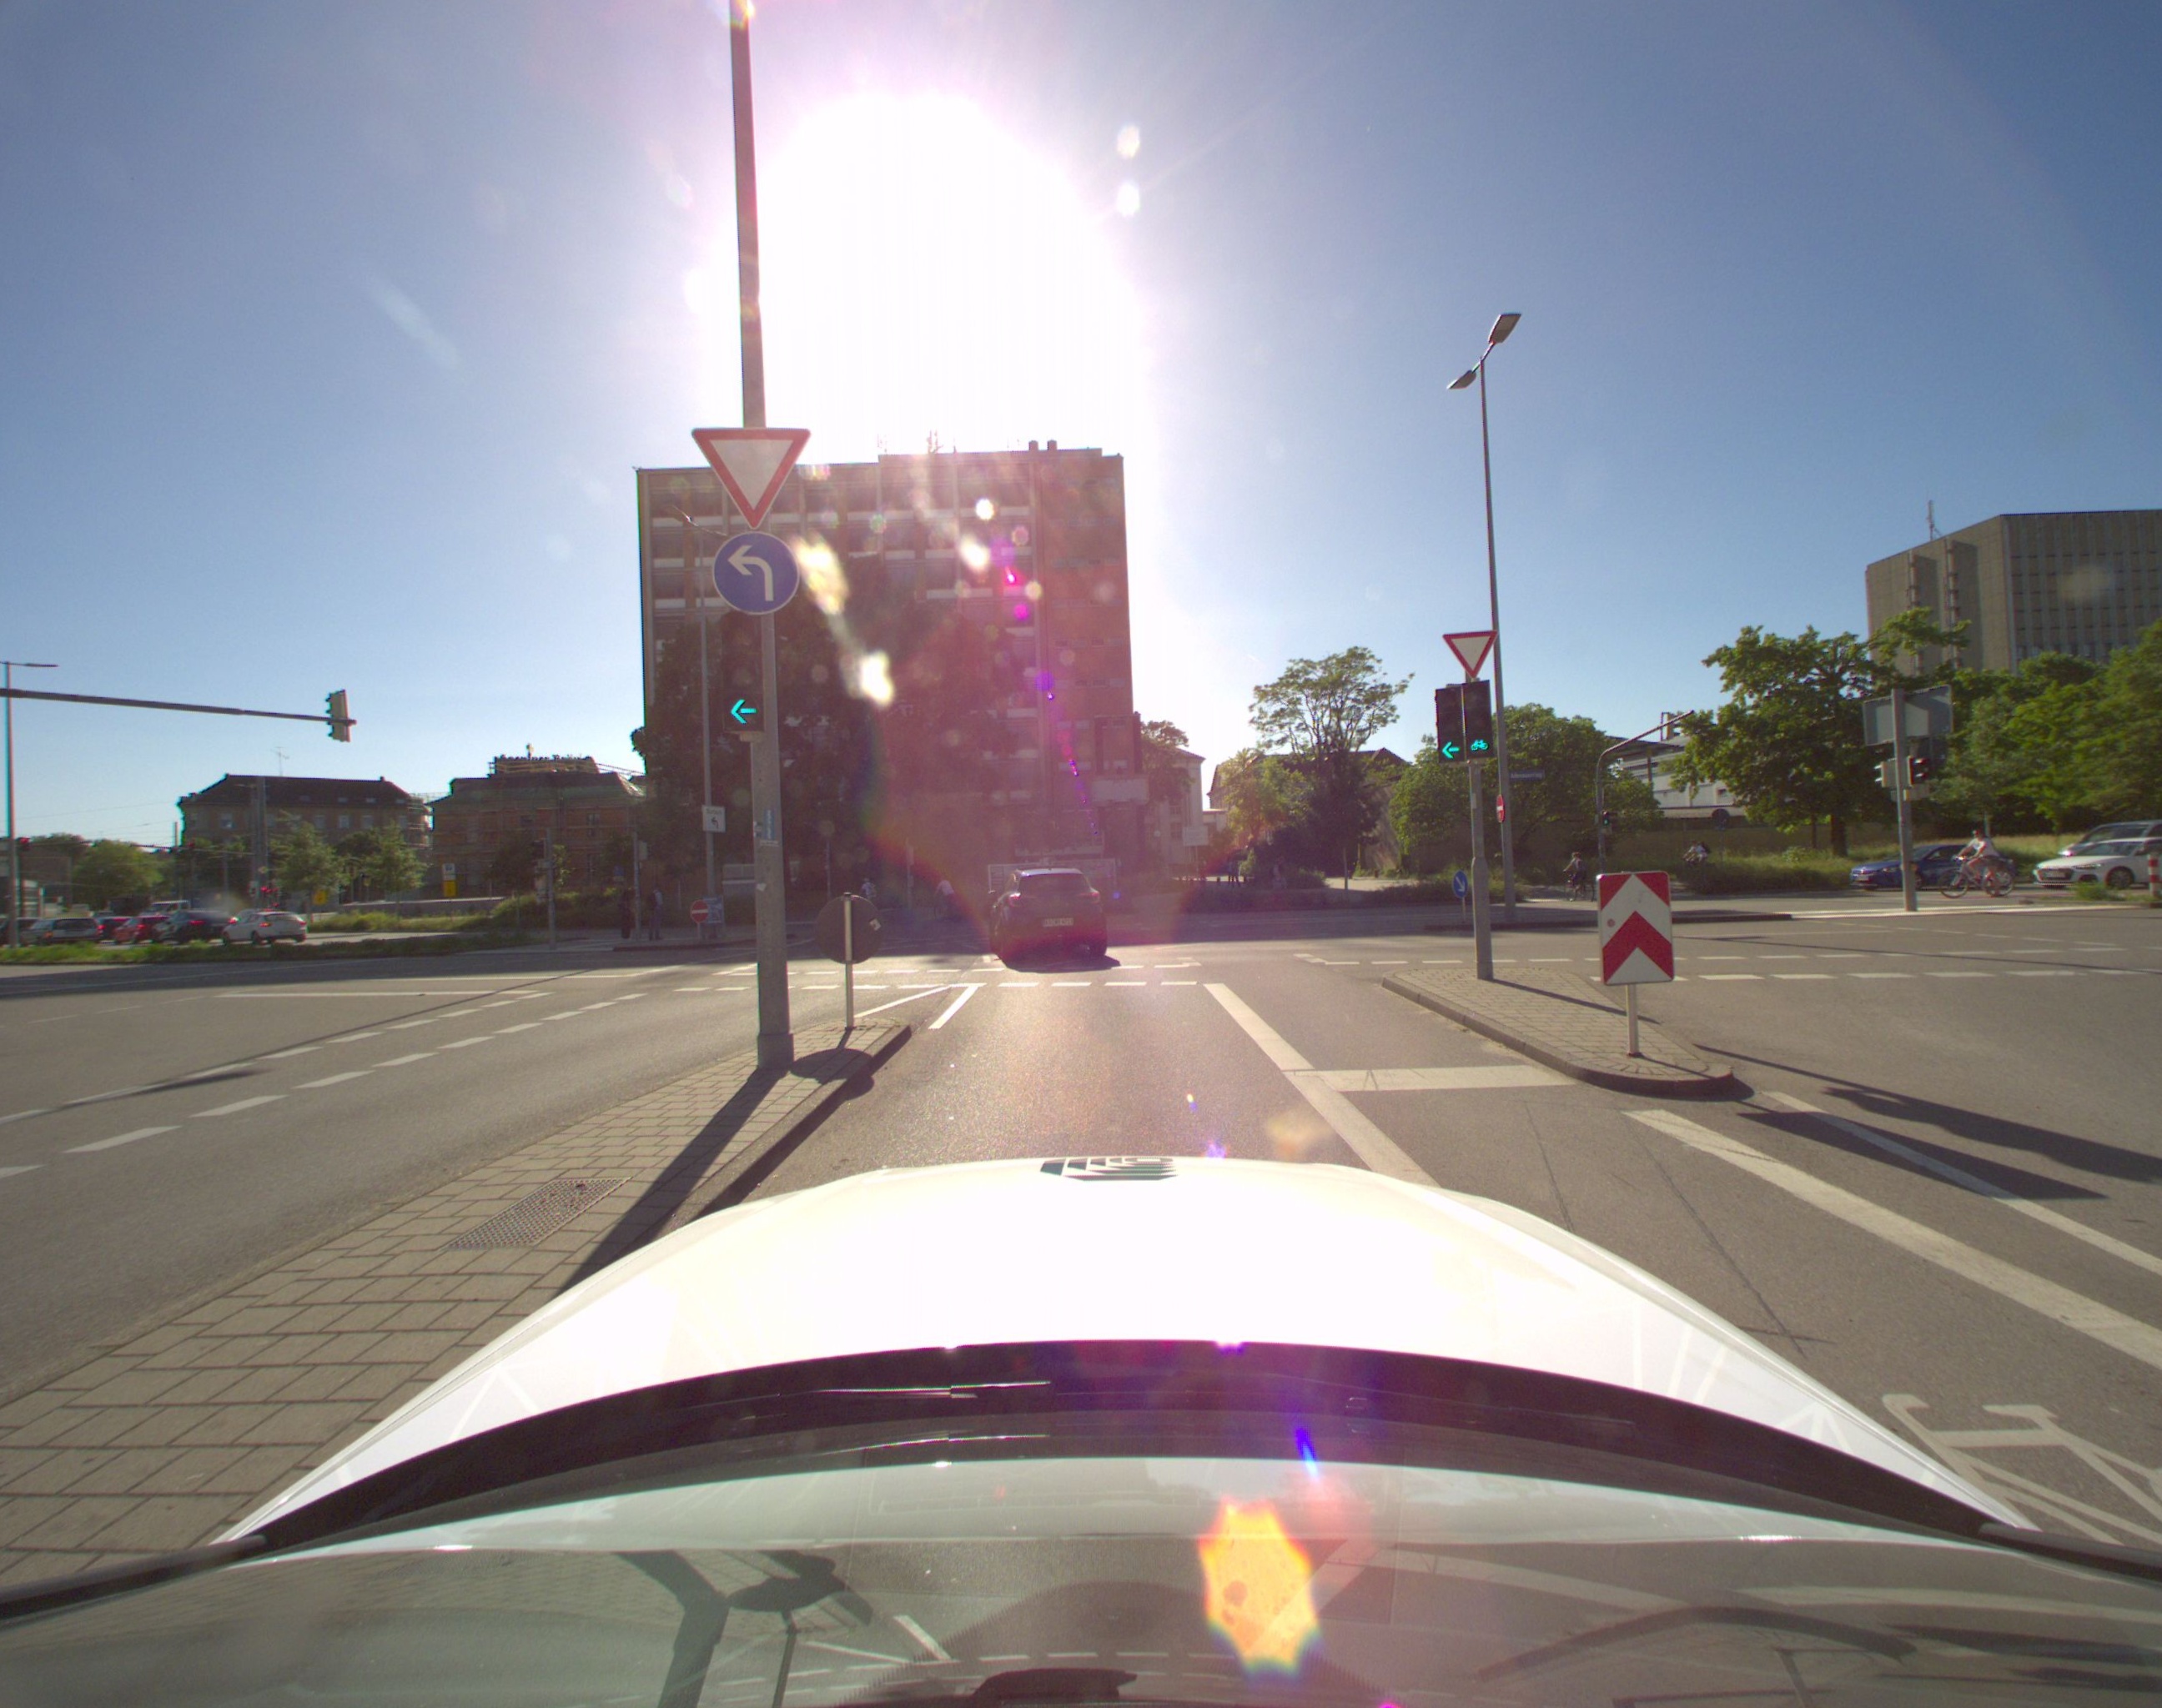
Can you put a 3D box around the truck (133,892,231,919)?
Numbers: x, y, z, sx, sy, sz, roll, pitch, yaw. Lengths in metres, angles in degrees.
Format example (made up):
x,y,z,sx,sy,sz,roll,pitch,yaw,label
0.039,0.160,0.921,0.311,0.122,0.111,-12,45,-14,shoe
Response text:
x,y,z,sx,sy,sz,roll,pitch,yaw,label
-89.233,5.060,81.023,2.208,2.313,6.879,-2,-1,-1,truck

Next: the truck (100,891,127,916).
x,y,z,sx,sy,sz,roll,pitch,yaw,label
-150.449,7.700,126.700,5.158,3.675,2.618,-1,-1,41,truck

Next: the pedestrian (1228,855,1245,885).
x,y,z,sx,sy,sz,roll,pitch,yaw,label
8.647,0.878,45.273,0.669,1.643,0.740,-1,-1,38,pedestrian

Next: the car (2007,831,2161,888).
x,y,z,sx,sy,sz,roll,pitch,yaw,label
29.603,0.132,23.137,3.963,1.469,2.005,-3,-1,9,car

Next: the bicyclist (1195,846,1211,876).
x,y,z,sx,sy,sz,roll,pitch,yaw,label
7.235,0.439,48.216,0.714,1.735,0.982,-3,-1,18,bicyclist

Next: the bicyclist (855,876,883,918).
x,y,z,sx,sy,sz,roll,pitch,yaw,label
-9.293,1.886,35.714,0.965,1.763,0.726,-3,-1,38,bicyclist

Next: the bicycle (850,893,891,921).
x,y,z,sx,sy,sz,roll,pitch,yaw,label
-9.229,2.309,35.668,1.846,1.165,0.753,-3,-1,38,bicycle

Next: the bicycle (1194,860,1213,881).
x,y,z,sx,sy,sz,roll,pitch,yaw,label
7.270,0.950,48.253,0.740,1.165,1.879,-3,-1,18,bicycle

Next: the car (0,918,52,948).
x,y,z,sx,sy,sz,roll,pitch,yaw,label
-55.817,4.145,42.763,3.859,1.443,1.741,-3,-4,32,car

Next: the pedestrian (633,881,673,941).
x,y,z,sx,sy,sz,roll,pitch,yaw,label
-13.640,1.793,25.962,0.753,1.833,1.093,-2,-2,-7,pedestrian

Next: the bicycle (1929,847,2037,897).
x,y,z,sx,sy,sz,roll,pitch,yaw,label
23.526,0.462,21.272,1.856,1.165,0.749,-4,-1,2,bicycle

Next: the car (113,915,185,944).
x,y,z,sx,sy,sz,roll,pitch,yaw,label
-49.073,3.967,42.880,3.674,1.443,1.687,-3,-4,29,car

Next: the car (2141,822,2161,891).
x,y,z,sx,sy,sz,roll,pitch,yaw,label
27.459,-0.048,18.420,4.282,1.625,1.791,-2,-2,4,car

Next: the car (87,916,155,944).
x,y,z,sx,sy,sz,roll,pitch,yaw,label
-54.420,4.289,46.167,3.750,1.443,1.741,-3,-4,29,car

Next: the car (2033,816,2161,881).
x,y,z,sx,sy,sz,roll,pitch,yaw,label
34.157,-0.193,26.073,4.719,1.953,1.941,-2,-2,4,car

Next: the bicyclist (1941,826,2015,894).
x,y,z,sx,sy,sz,roll,pitch,yaw,label
23.412,0.169,21.278,0.970,1.685,0.747,-4,-1,3,bicyclist

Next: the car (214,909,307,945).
x,y,z,sx,sy,sz,roll,pitch,yaw,label
-37.397,3.328,37.102,3.691,1.436,1.706,-3,-1,23,car

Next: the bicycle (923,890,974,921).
x,y,z,sx,sy,sz,roll,pitch,yaw,label
-5.203,2.014,31.886,1.847,1.165,0.722,-3,-1,25,bicycle

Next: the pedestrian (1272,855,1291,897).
x,y,z,sx,sy,sz,roll,pitch,yaw,label
8.629,0.961,35.037,0.727,1.782,0.735,-1,-1,18,pedestrian

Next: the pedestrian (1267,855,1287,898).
x,y,z,sx,sy,sz,roll,pitch,yaw,label
8.249,0.942,34.280,0.727,1.816,0.735,-1,-1,18,pedestrian

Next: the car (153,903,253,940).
x,y,z,sx,sy,sz,roll,pitch,yaw,label
-43.475,3.339,40.329,4.324,1.624,2.001,-3,-1,23,car

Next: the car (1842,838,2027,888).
x,y,z,sx,sy,sz,roll,pitch,yaw,label
27.491,0.314,26.334,3.968,1.442,1.707,-2,-2,4,car

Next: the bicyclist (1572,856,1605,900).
x,y,z,sx,sy,sz,roll,pitch,yaw,label
17.433,0.802,27.984,0.638,1.444,0.777,-3,1,4,bicyclist

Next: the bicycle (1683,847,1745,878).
x,y,z,sx,sy,sz,roll,pitch,yaw,label
26.404,0.369,33.981,1.939,1.165,0.645,-3,1,9,bicycle

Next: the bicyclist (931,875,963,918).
x,y,z,sx,sy,sz,roll,pitch,yaw,label
-5.249,1.658,31.902,0.965,1.617,0.726,-3,-1,25,bicyclist

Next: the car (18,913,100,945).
x,y,z,sx,sy,sz,roll,pitch,yaw,label
-49.941,3.648,39.801,3.751,1.443,1.741,-3,-3,27,car

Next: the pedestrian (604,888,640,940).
x,y,z,sx,sy,sz,roll,pitch,yaw,label
-14.967,1.953,26.568,0.712,1.612,0.684,-3,-2,10,pedestrian

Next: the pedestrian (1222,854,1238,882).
x,y,z,sx,sy,sz,roll,pitch,yaw,label
8.814,0.810,48.118,0.669,1.643,0.740,-1,-1,31,pedestrian

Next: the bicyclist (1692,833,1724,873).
x,y,z,sx,sy,sz,roll,pitch,yaw,label
26.190,-0.052,34.007,0.824,1.595,0.633,-3,2,10,bicyclist

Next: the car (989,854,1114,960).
x,y,z,sx,sy,sz,roll,pitch,yaw,label
-0.688,0.968,15.169,1.876,1.618,3.785,-3,-3,-8,car

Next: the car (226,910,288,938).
x,y,z,sx,sy,sz,roll,pitch,yaw,label
-51.468,4.381,50.884,3.578,1.618,1.894,-4,-3,30,car

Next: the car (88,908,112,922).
x,y,z,sx,sy,sz,roll,pitch,yaw,label
-128.352,7.976,106.577,3.594,1.544,1.797,-1,-1,43,car

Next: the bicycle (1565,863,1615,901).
x,y,z,sx,sy,sz,roll,pitch,yaw,label
17.440,0.951,27.941,0.638,1.165,1.873,-3,1,4,bicycle
